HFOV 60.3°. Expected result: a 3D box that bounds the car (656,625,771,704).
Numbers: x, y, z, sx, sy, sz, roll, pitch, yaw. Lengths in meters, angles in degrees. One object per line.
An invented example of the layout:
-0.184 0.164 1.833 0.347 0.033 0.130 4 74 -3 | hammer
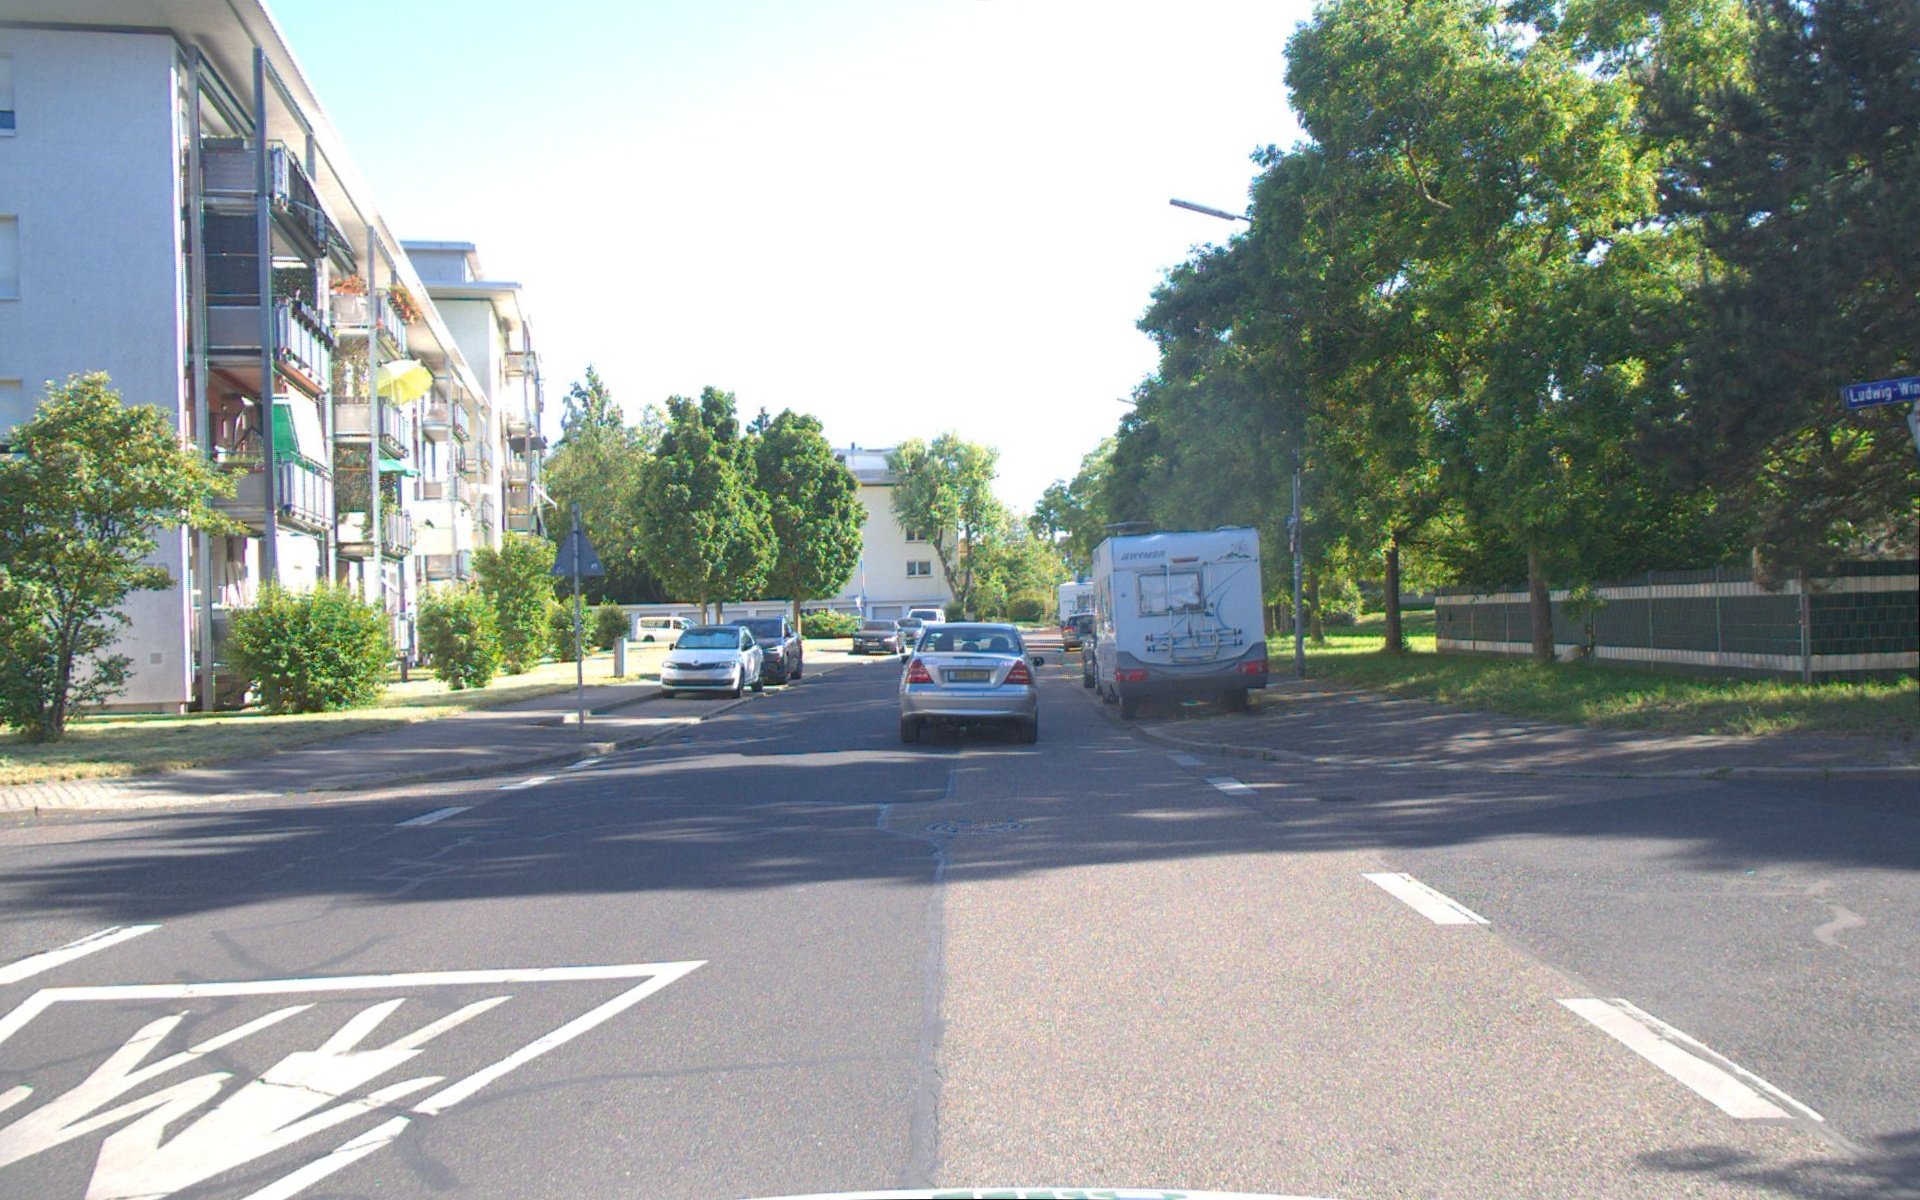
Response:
-5.172 1.320 35.203 1.612 1.492 4.331 -1 0 2 | car

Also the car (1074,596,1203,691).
3.510 0.831 33.285 1.953 1.669 4.535 -4 0 -1 | car

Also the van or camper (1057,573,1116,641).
5.811 0.339 76.568 2.444 2.895 6.854 -3 0 4 | van or camper

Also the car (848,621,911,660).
-3.378 1.702 70.384 1.992 1.519 5.258 -2 -1 4 | car

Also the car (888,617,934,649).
-2.426 1.653 83.268 1.794 1.544 4.224 0 -1 5 | car

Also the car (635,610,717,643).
-19.465 1.806 113.580 4.996 1.985 2.239 -3 -1 12 | car

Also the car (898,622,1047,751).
0.202 1.025 20.687 1.697 1.459 3.438 -1 -1 2 | car

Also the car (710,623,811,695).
-4.965 1.442 41.831 1.875 1.632 4.812 -2 -1 0 | car

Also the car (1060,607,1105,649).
5.113 1.155 69.476 1.685 1.550 4.430 -5 0 3 | car

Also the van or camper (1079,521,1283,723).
3.345 0.327 26.497 2.304 2.641 6.426 -5 0 1 | van or camper

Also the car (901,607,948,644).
-1.887 1.380 89.875 1.972 1.919 5.193 0 -1 5 | car
